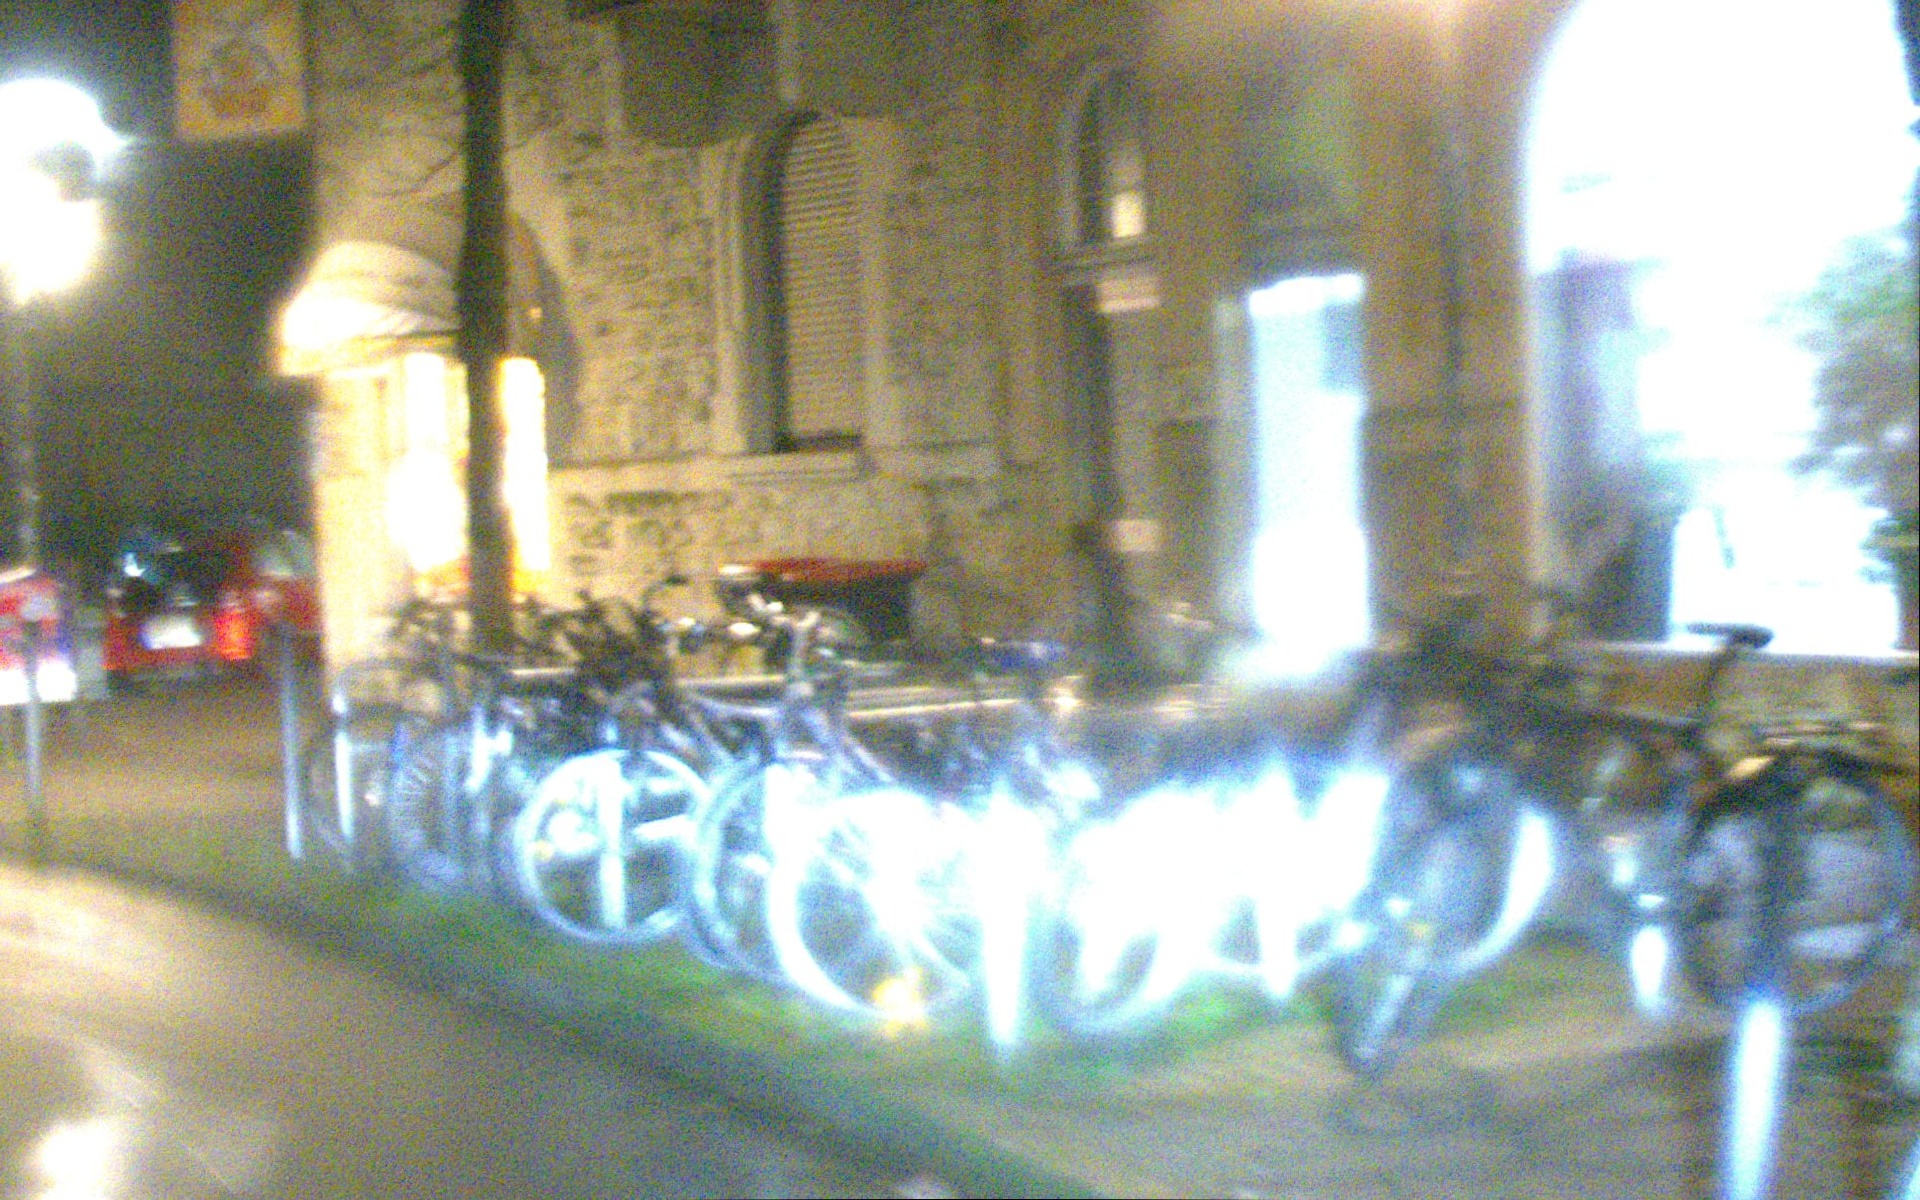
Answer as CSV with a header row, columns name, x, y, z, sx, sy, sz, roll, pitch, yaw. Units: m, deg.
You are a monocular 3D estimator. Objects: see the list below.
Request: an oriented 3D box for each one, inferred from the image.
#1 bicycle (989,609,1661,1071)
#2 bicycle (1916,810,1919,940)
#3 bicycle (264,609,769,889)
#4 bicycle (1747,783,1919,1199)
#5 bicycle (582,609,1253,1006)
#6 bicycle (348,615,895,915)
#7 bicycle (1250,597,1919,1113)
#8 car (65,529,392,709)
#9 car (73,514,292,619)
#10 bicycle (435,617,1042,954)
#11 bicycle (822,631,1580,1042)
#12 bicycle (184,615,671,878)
name,x,y,z,sx,sy,sz,roll,pitch,yaw
bicycle,1.032,0.592,9.314,1.969,1.050,0.642,-3,1,-43
bicycle,2.215,0.753,4.050,1.968,1.030,0.642,-2,1,1
bicycle,-1.849,0.596,14.432,1.968,1.031,0.642,-3,1,-28
bicycle,2.160,0.752,4.754,1.968,1.003,0.642,-2,1,1
bicycle,-0.114,0.602,10.667,1.968,1.061,0.642,-3,1,-28
bicycle,-1.289,0.604,13.245,1.968,1.003,0.642,-3,1,-28
bicycle,1.694,0.572,8.435,1.819,1.083,0.721,-3,1,-27
car,-7.212,0.148,34.234,1.648,1.519,3.578,-5,1,14
car,-15.212,-0.705,67.588,1.995,1.819,5.306,2,3,14
bicycle,-0.749,0.605,11.878,1.968,1.003,0.642,-3,1,-28
bicycle,0.641,0.631,9.419,1.968,1.003,0.642,-2,1,1
bicycle,-2.314,0.611,15.020,1.968,1.003,0.642,-3,1,-28
